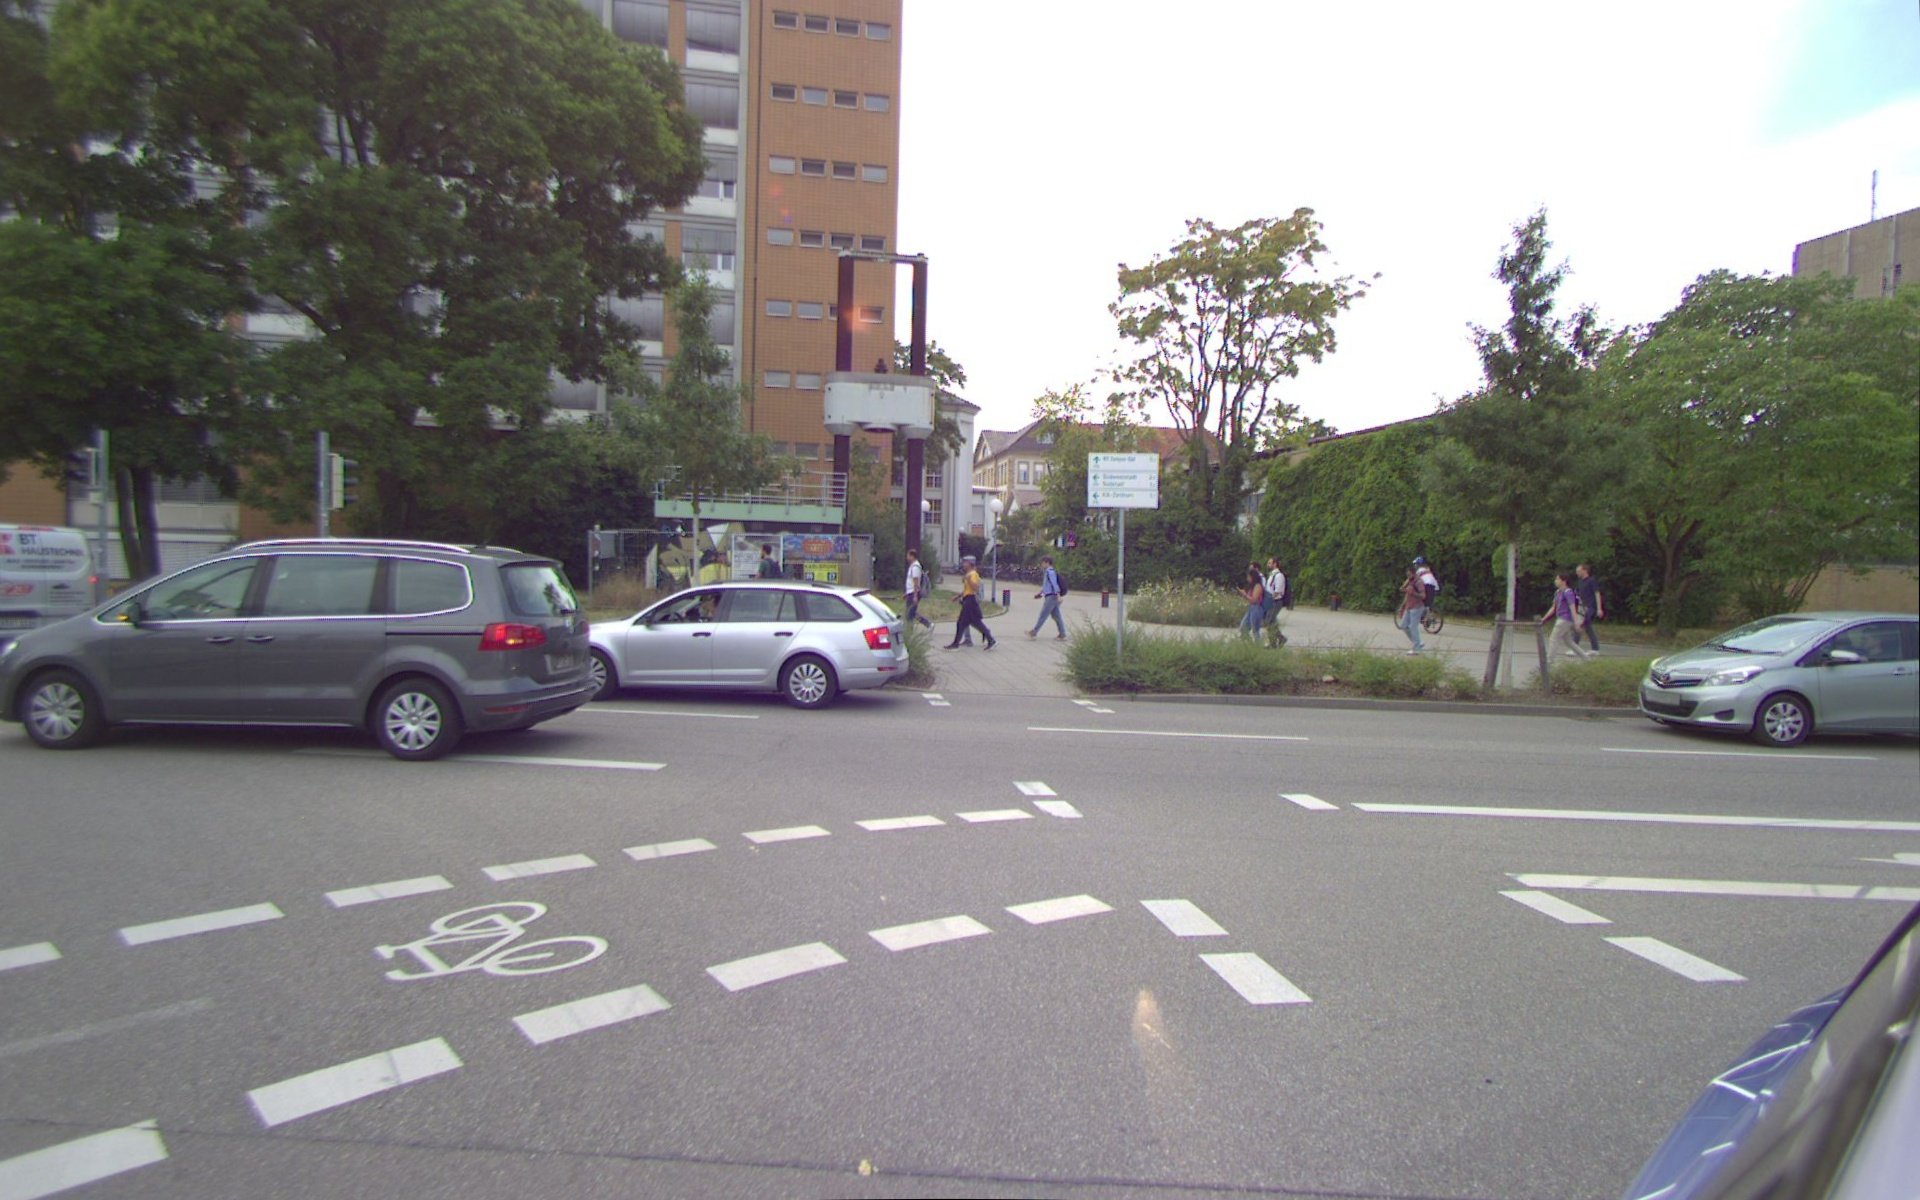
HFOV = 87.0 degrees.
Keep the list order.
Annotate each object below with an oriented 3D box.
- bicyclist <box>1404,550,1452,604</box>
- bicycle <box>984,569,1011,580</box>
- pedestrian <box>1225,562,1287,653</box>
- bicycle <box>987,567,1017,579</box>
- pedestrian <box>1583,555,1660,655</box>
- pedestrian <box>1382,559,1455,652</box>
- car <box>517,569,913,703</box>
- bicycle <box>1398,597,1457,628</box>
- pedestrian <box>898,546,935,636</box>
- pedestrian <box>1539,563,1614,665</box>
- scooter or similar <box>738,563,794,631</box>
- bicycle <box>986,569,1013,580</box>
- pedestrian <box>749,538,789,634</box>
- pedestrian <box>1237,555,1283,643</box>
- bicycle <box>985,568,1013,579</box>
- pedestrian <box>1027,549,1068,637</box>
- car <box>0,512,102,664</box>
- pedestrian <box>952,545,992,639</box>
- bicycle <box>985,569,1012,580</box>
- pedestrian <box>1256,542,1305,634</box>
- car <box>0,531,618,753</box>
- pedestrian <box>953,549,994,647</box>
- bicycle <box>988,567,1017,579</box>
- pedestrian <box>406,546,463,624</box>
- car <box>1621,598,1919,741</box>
[{"bbox_3d":[11.390,-0.549,24.609,0.836,1.293,0.998,0,0,40],"label":"bicyclist"},{"bbox_3d":[2.527,-1.722,68.326,1.811,0.702,0.651,1,0,3],"label":"bicycle"},{"bbox_3d":[5.326,0.125,18.251,0.784,1.561,0.841,1,4,-3],"label":"pedestrian"},{"bbox_3d":[2.608,-1.690,62.725,1.811,0.702,0.666,1,0,3],"label":"bicycle"},{"bbox_3d":[11.738,0.089,17.982,0.784,1.733,0.840,1,0,-3],"label":"pedestrian"},{"bbox_3d":[8.816,0.098,19.486,0.993,1.733,0.840,1,0,-3],"label":"pedestrian"},{"bbox_3d":[-2.874,0.401,12.525,4.445,1.493,1.824,1,0,2],"label":"car"},{"bbox_3d":[11.381,0.296,24.604,0.840,0.702,1.818,1,0,41],"label":"bicycle"},{"bbox_3d":[-0.844,-0.179,19.784,0.694,1.732,0.640,1,1,-3],"label":"pedestrian"},{"bbox_3d":[10.823,0.240,17.789,0.784,1.733,0.840,1,0,-3],"label":"pedestrian"},{"bbox_3d":[-4.056,-0.057,21.155,1.124,1.387,0.400,1,0,-16],"label":"scooter or similar"},{"bbox_3d":[2.698,-1.726,69.340,1.811,0.702,0.651,1,0,3],"label":"bicycle"},{"bbox_3d":[-3.813,-0.292,20.218,0.694,1.875,0.640,1,2,-3],"label":"pedestrian"},{"bbox_3d":[6.008,-0.016,20.273,0.694,1.733,0.640,1,0,-3],"label":"pedestrian"},{"bbox_3d":[2.532,-1.708,65.794,1.811,0.702,0.651,1,0,3],"label":"bicycle"},{"bbox_3d":[1.739,-0.152,20.234,0.694,1.731,0.641,1,3,-3],"label":"pedestrian"},{"bbox_3d":[-15.035,-0.186,14.073,5.118,1.984,1.821,1,0,9],"label":"car"},{"bbox_3d":[0.218,-0.143,18.986,0.694,1.733,0.640,1,0,-3],"label":"pedestrian"},{"bbox_3d":[2.586,-1.717,67.490,1.811,0.702,0.651,1,0,3],"label":"bicycle"},{"bbox_3d":[6.186,-0.225,19.550,0.694,1.733,0.640,1,0,-3],"label":"pedestrian"},{"bbox_3d":[-5.546,0.314,8.721,4.598,1.671,1.760,1,0,2],"label":"car"},{"bbox_3d":[0.237,-0.054,18.241,0.694,1.732,0.641,1,2,-3],"label":"pedestrian"},{"bbox_3d":[2.677,-1.698,64.326,1.811,0.702,0.651,1,0,3],"label":"bicycle"},{"bbox_3d":[-10.966,-0.325,21.139,0.796,1.593,0.781,1,3,-3],"label":"pedestrian"},{"bbox_3d":[10.105,0.752,11.682,3.803,1.508,1.671,1,0,1],"label":"car"}]
